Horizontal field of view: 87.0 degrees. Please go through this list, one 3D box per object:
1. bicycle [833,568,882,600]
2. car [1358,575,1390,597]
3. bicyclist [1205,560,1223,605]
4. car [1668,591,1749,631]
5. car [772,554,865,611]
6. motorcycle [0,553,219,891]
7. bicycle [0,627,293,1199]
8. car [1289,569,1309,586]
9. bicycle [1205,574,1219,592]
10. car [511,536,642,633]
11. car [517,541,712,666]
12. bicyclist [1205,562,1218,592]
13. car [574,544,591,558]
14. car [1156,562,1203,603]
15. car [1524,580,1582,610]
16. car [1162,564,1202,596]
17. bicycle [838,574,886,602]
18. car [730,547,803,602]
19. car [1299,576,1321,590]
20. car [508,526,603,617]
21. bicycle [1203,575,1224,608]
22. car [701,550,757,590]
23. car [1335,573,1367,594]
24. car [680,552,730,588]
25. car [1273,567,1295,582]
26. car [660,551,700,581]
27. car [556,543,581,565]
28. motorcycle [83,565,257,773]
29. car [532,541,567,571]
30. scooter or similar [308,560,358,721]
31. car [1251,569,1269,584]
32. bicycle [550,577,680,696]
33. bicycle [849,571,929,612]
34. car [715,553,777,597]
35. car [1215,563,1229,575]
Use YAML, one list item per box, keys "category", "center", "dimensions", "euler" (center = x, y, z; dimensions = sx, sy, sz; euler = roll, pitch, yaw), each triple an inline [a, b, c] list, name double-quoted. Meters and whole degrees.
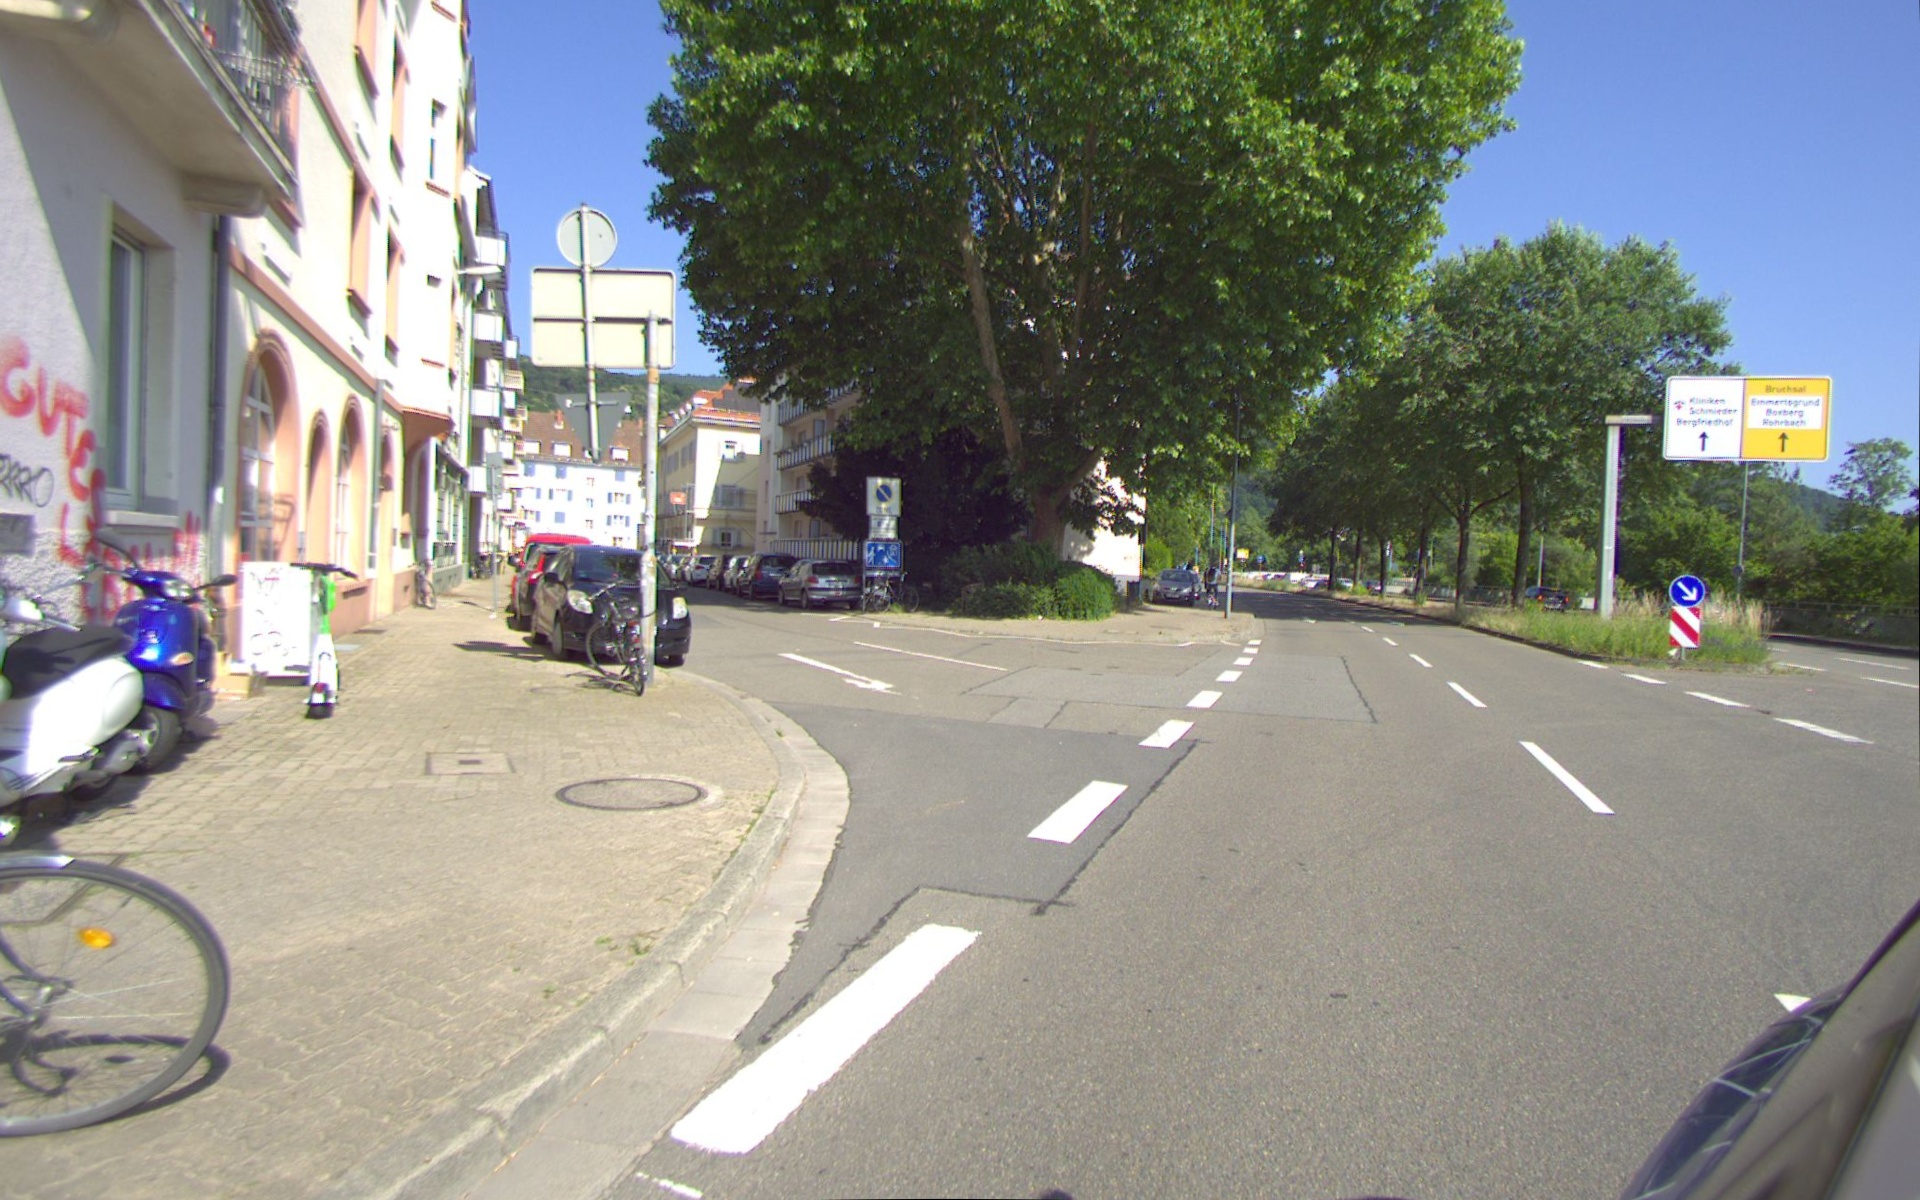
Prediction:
- category: "bicycle"
  center: [-3.501, -0.542, 34.636]
  dimensions: [1.542, 1.005, 0.458]
  euler: [3, 2, -24]
- category: "car"
  center: [37.664, -1.312, 92.167]
  dimensions: [1.969, 1.914, 3.987]
  euler: [3, 2, 12]
- category: "bicyclist"
  center: [9.580, -0.661, 38.158]
  dimensions: [0.535, 1.653, 0.585]
  euler: [3, 2, 22]
- category: "car"
  center: [31.569, 0.421, 42.789]
  dimensions: [1.660, 1.487, 3.554]
  euler: [3, 2, 19]
- category: "car"
  center: [-4.154, -0.545, 29.193]
  dimensions: [1.772, 1.469, 3.804]
  euler: [2, 2, -22]
- category: "motorcycle"
  center: [-3.912, 0.413, 4.412]
  dimensions: [0.463, 1.164, 1.769]
  euler: [4, 3, -16]
- category: "bicycle"
  center: [-2.197, 0.653, 1.743]
  dimensions: [0.572, 1.101, 1.722]
  euler: [3, 2, 22]
- category: "car"
  center: [40.845, -2.689, 122.037]
  dimensions: [1.608, 1.938, 3.672]
  euler: [3, 2, 8]
- category: "bicycle"
  center: [16.662, -1.140, 66.976]
  dimensions: [0.650, 1.136, 1.800]
  euler: [3, 2, 7]
- category: "car"
  center: [-7.121, -0.338, 18.529]
  dimensions: [1.947, 1.561, 4.072]
  euler: [1, 3, -25]
- category: "car"
  center: [-4.925, -0.040, 14.091]
  dimensions: [1.790, 1.464, 3.773]
  euler: [1, 2, -31]
- category: "bicyclist"
  center: [16.671, -1.535, 67.064]
  dimensions: [0.637, 1.917, 0.838]
  euler: [3, 2, 6]
- category: "car"
  center: [-43.400, -5.687, 116.264]
  dimensions: [1.717, 1.499, 3.789]
  euler: [2, 2, -22]
- category: "car"
  center: [9.173, -0.754, 42.176]
  dimensions: [1.767, 1.531, 3.879]
  euler: [3, 2, 13]
- category: "car"
  center: [37.795, -0.347, 64.606]
  dimensions: [1.895, 1.684, 4.296]
  euler: [3, 2, 13]
- category: "car"
  center: [11.714, -1.091, 53.635]
  dimensions: [1.619, 1.593, 3.993]
  euler: [3, 2, 7]
- category: "bicycle"
  center: [-3.257, -0.392, 33.671]
  dimensions: [1.475, 0.844, 0.385]
  euler: [3, 2, -24]
- category: "car"
  center: [-6.609, -0.903, 34.302]
  dimensions: [1.717, 1.677, 3.789]
  euler: [2, 2, -22]
- category: "car"
  center: [39.752, -1.914, 114.872]
  dimensions: [1.607, 1.513, 3.673]
  euler: [3, 2, 8]
- category: "car"
  center: [-9.347, -0.705, 23.423]
  dimensions: [1.833, 1.863, 4.236]
  euler: [2, 2, -22]
- category: "bicycle"
  center: [9.569, -0.342, 38.172]
  dimensions: [0.548, 1.203, 1.277]
  euler: [3, 2, 22]
- category: "car"
  center: [-9.794, -1.299, 42.774]
  dimensions: [1.717, 1.538, 3.681]
  euler: [2, 2, -22]
- category: "car"
  center: [38.896, -1.696, 100.753]
  dimensions: [1.967, 1.914, 3.992]
  euler: [3, 2, 8]
- category: "car"
  center: [-11.910, -1.432, 47.129]
  dimensions: [1.717, 1.538, 3.681]
  euler: [2, 2, -22]
- category: "car"
  center: [44.885, -3.495, 140.153]
  dimensions: [1.966, 1.889, 3.994]
  euler: [5, 3, 6]
- category: "car"
  center: [-15.620, -1.907, 56.417]
  dimensions: [1.717, 1.538, 3.681]
  euler: [2, 2, -22]
- category: "car"
  center: [-29.762, -3.510, 76.918]
  dimensions: [1.717, 1.478, 3.789]
  euler: [2, 2, -22]
- category: "motorcycle"
  center: [-4.788, 0.360, 6.218]
  dimensions: [0.420, 1.107, 1.453]
  euler: [3, 1, -22]
- category: "car"
  center: [-25.645, -2.756, 63.186]
  dimensions: [1.830, 1.743, 3.871]
  euler: [2, 2, -25]
- category: "scooter or similar"
  center: [-4.992, 0.277, 8.058]
  dimensions: [0.269, 1.141, 1.449]
  euler: [3, 1, -32]
- category: "car"
  center: [39.046, -3.111, 131.689]
  dimensions: [1.607, 1.833, 3.585]
  euler: [3, 2, 8]
- category: "bicycle"
  center: [-3.616, 0.333, 10.505]
  dimensions: [0.615, 1.047, 1.881]
  euler: [1, 3, -40]
- category: "bicycle"
  center: [-1.895, -0.237, 27.016]
  dimensions: [1.859, 0.996, 0.975]
  euler: [1, 2, -27]
- category: "car"
  center: [-8.284, -1.004, 38.931]
  dimensions: [1.717, 1.538, 3.681]
  euler: [2, 2, -22]
- category: "car"
  center: [41.284, -4.916, 159.260]
  dimensions: [1.607, 1.833, 3.585]
  euler: [3, 2, 8]
